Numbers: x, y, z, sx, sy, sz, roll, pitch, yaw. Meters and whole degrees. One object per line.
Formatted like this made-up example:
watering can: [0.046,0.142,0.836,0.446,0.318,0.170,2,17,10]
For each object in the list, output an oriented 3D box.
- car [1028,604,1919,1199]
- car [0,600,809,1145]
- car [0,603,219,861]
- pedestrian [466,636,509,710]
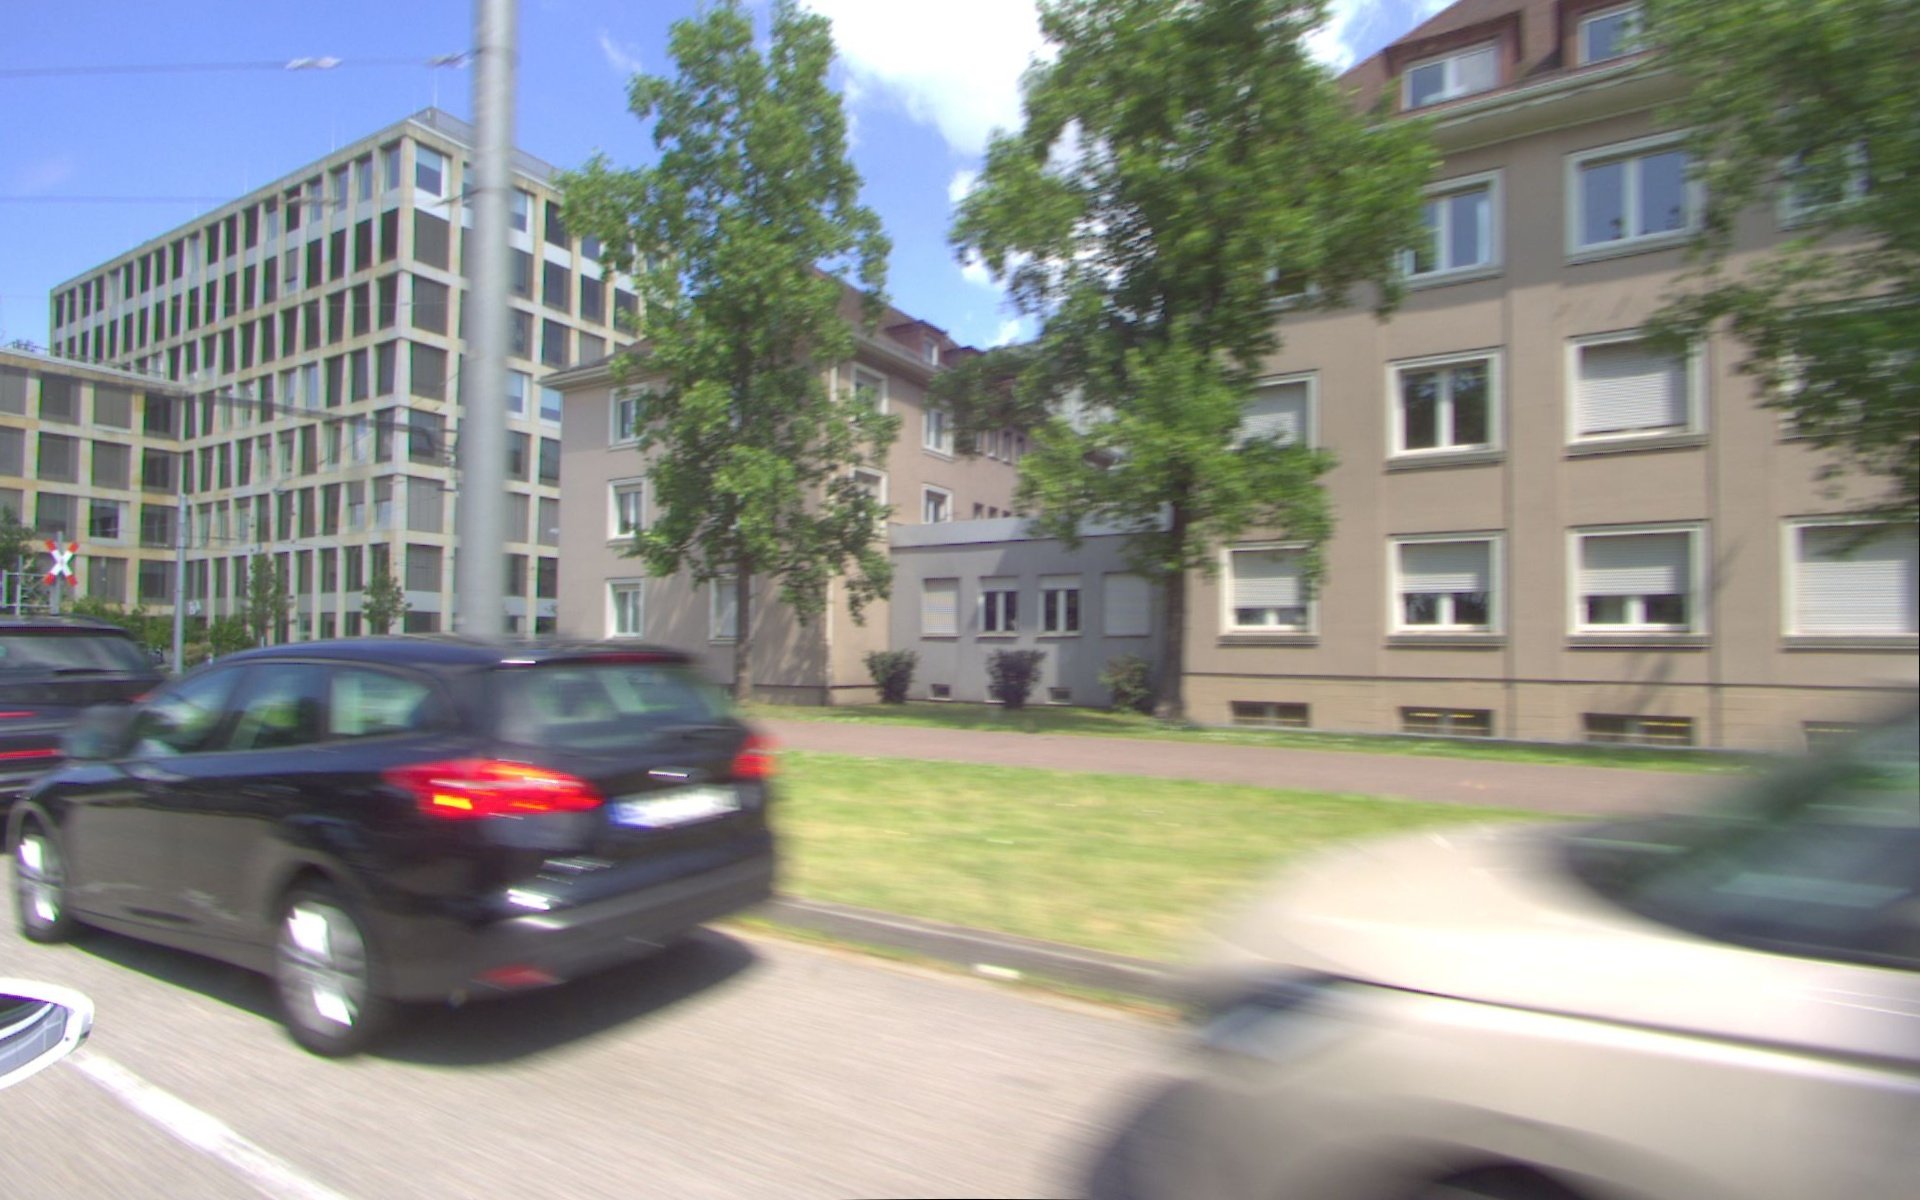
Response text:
car: [2.170,0.789,1.678,3.797,1.534,1.666,-2,-3,33]
car: [-2.913,0.866,4.761,4.380,1.549,1.641,-2,-3,33]
car: [-8.077,0.918,8.048,4.603,1.683,1.814,-1,-3,32]
pedestrian: [-10.611,1.638,22.494,0.615,1.628,0.622,-1,-2,29]
